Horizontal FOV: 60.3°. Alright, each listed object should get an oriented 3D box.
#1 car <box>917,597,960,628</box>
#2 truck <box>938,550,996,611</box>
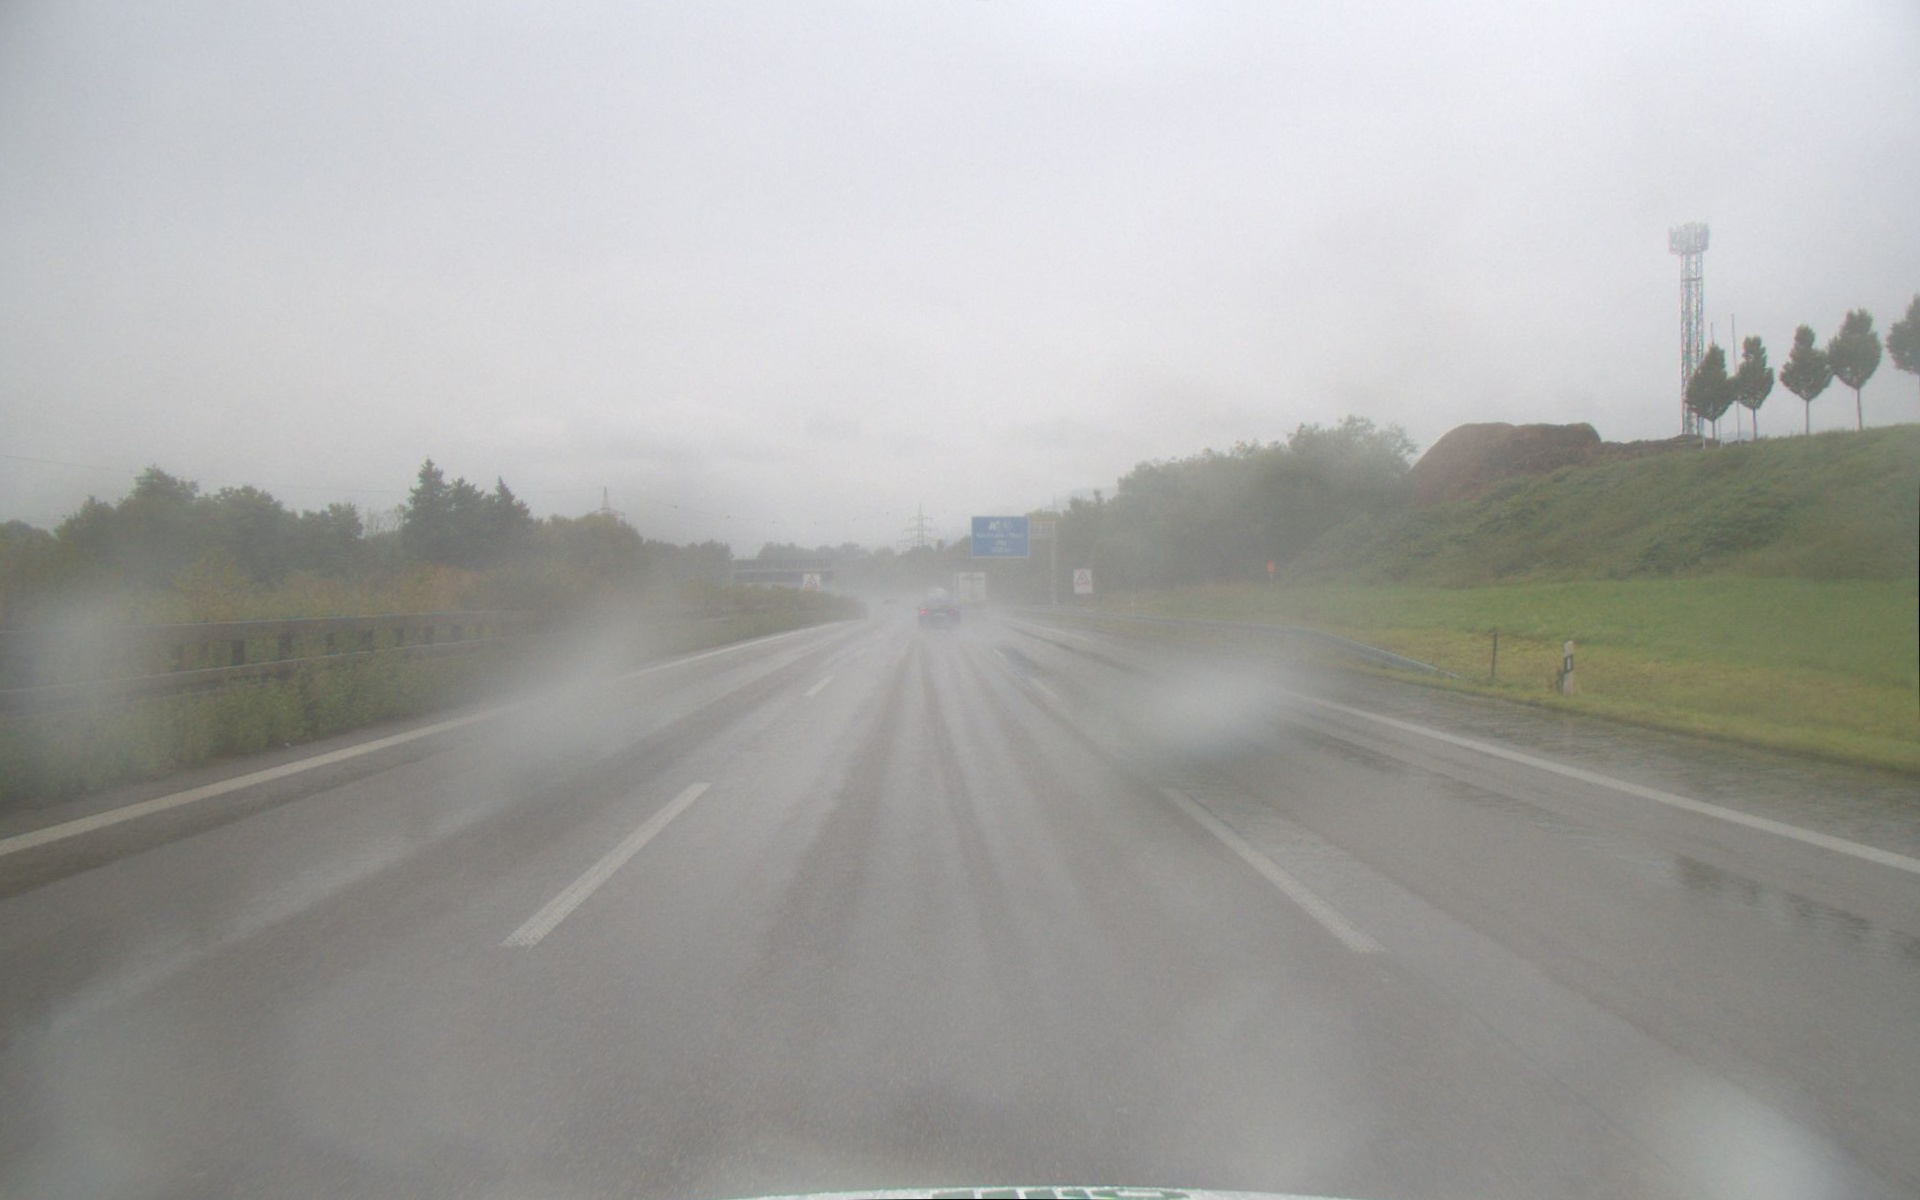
[{"bbox_3d":[-0.932,0.521,68.919,1.713,1.233,3.998,0,0,-2],"label":"car"},{"bbox_3d":[0.524,-1.736,151.564,4.172,5.058,17.331,-3,0,-3],"label":"truck"}]
